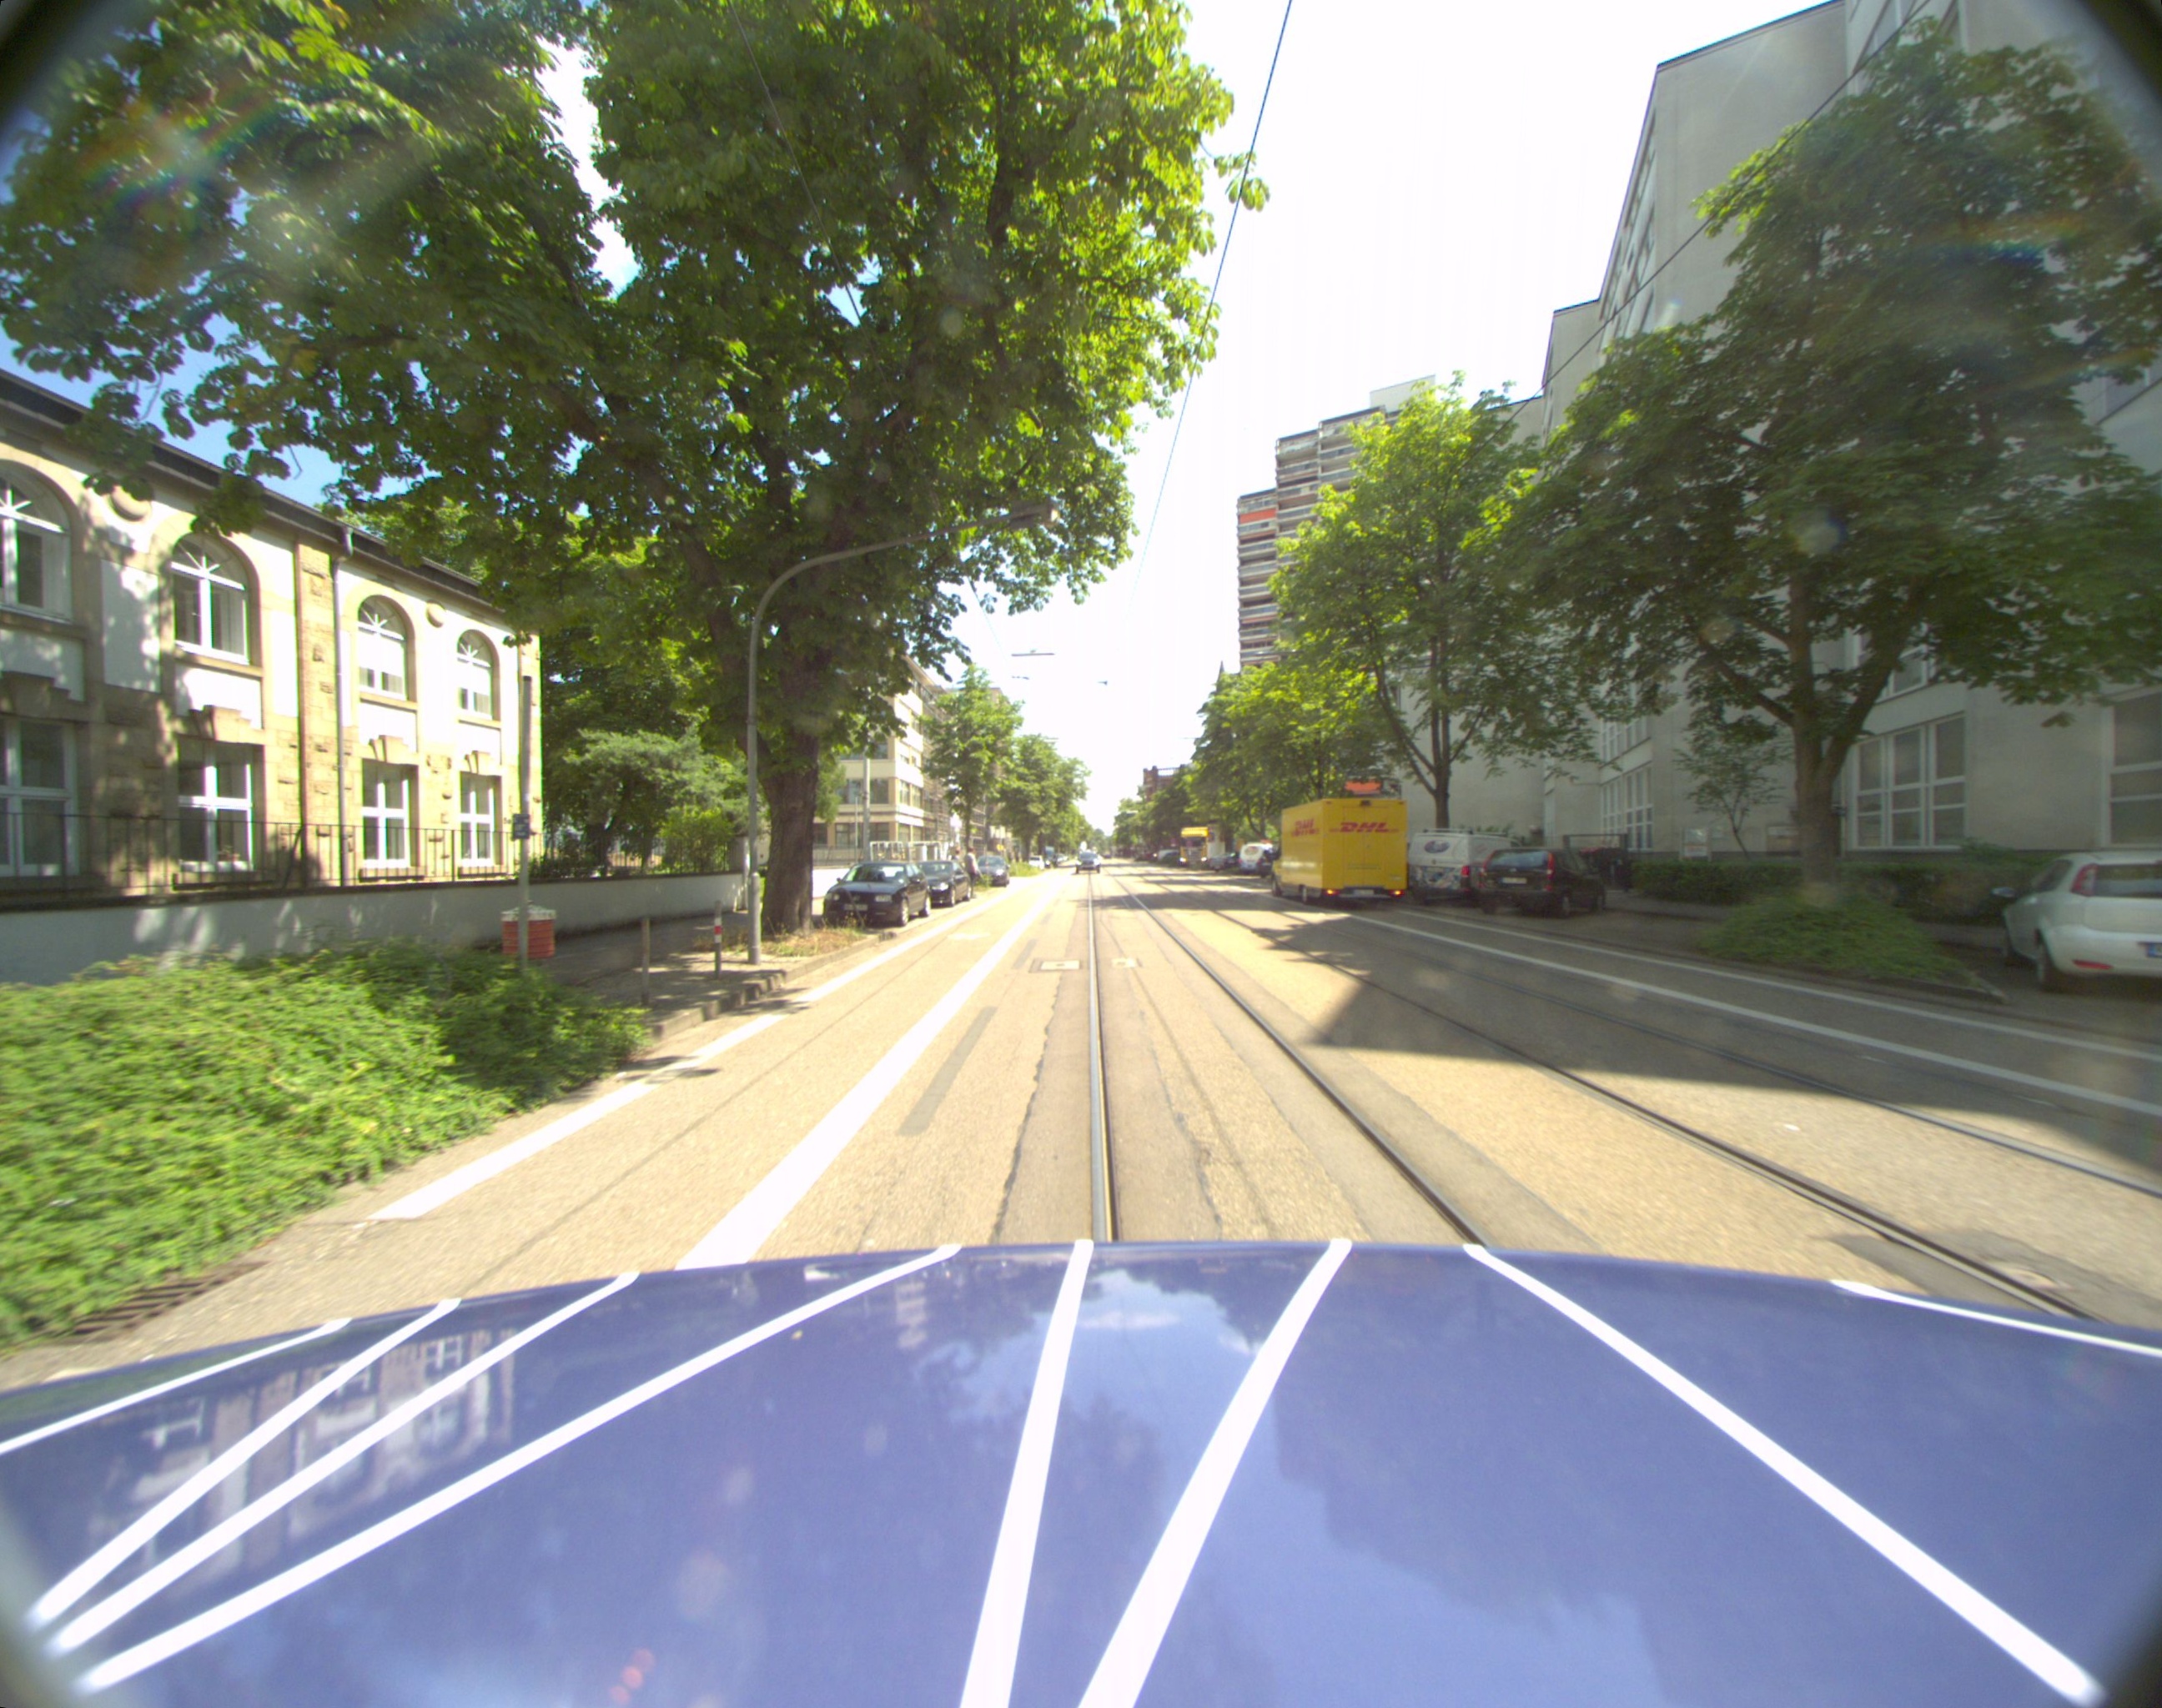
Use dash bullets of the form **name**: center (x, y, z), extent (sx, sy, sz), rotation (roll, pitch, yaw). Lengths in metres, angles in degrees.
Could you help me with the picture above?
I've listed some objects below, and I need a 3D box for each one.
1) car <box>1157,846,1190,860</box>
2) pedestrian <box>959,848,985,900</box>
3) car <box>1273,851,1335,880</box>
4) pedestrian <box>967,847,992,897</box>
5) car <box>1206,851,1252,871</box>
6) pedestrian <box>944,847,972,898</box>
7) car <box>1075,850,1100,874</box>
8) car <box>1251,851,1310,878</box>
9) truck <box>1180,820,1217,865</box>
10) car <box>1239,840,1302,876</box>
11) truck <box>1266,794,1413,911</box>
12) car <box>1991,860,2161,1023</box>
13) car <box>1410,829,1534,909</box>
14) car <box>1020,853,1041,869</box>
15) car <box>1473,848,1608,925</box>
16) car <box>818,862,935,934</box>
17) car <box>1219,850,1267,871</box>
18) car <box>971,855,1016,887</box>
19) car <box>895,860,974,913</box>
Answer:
- **car**: center (13.028, -0.133, 106.604), extent (4.337, 1.797, 1.995), rotation (-1, 1, -32)
- **pedestrian**: center (-3.864, 0.700, 26.969), extent (0.645, 1.839, 0.741), rotation (0, 1, 18)
- **car**: center (12.173, 0.581, 41.319), extent (1.678, 1.445, 3.682), rotation (0, 1, 45)
- **pedestrian**: center (-3.801, 0.656, 28.426), extent (0.741, 1.839, 0.645), rotation (-1, 1, -25)
- **car**: center (11.228, 0.529, 57.456), extent (1.678, 1.445, 3.682), rotation (0, 1, 45)
- **pedestrian**: center (-4.463, 0.657, 27.530), extent (0.645, 1.839, 0.741), rotation (0, 1, 27)
- **car**: center (0.472, 0.561, 56.586), extent (1.752, 1.641, 4.297), rotation (-2, 0, 1)
- **car**: center (11.641, 0.578, 44.222), extent (1.678, 1.445, 3.682), rotation (0, 1, 45)
- **truck**: center (11.929, -1.108, 76.434), extent (2.672, 4.156, 10.483), rotation (-1, 1, 14)
- **car**: center (11.875, 0.219, 47.472), extent (1.873, 2.095, 4.596), rotation (0, 1, 42)
- **truck**: center (7.278, -0.057, 22.308), extent (2.306, 2.903, 6.515), rotation (-1, 0, 2)
- **car**: center (11.406, 0.817, 8.181), extent (1.721, 1.445, 3.635), rotation (0, 1, 45)
- **car**: center (10.968, 0.349, 21.218), extent (4.061, 2.030, 1.598), rotation (-1, 1, -40)
- **car**: center (-4.677, 0.655, 70.898), extent (1.626, 1.395, 4.000), rotation (2, 0, 1)
- **car**: center (10.811, 0.671, 17.778), extent (3.692, 1.566, 1.678), rotation (-1, 2, -42)
- **car**: center (-4.615, 0.931, 17.710), extent (1.626, 1.395, 3.823), rotation (2, 0, 1)
- **car**: center (11.632, 0.449, 54.420), extent (1.678, 1.411, 3.682), rotation (0, 1, 45)
- **car**: center (-4.151, 0.782, 36.575), extent (1.626, 1.395, 4.000), rotation (2, 0, 1)
- **car**: center (-4.503, 0.950, 23.820), extent (1.626, 1.395, 4.000), rotation (2, 0, 1)
